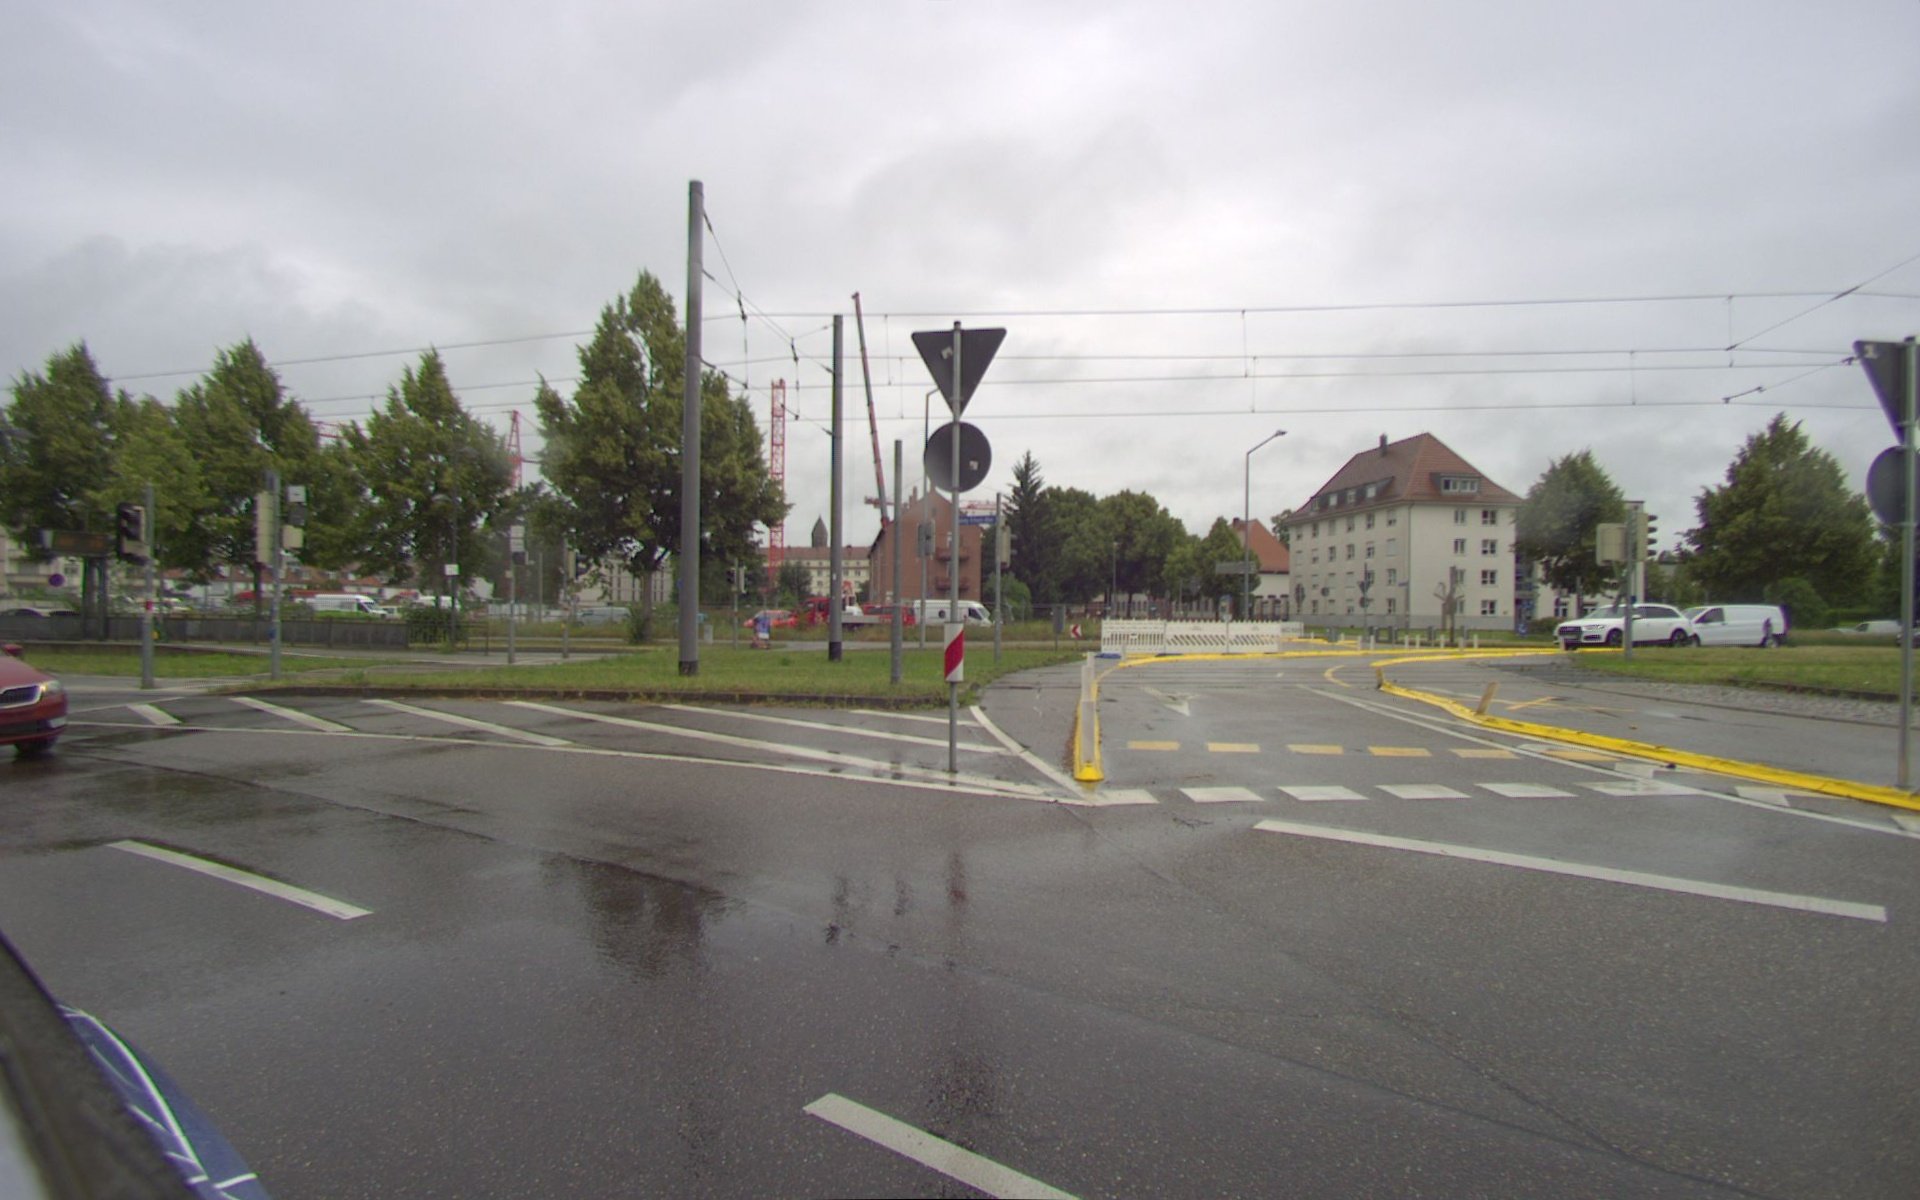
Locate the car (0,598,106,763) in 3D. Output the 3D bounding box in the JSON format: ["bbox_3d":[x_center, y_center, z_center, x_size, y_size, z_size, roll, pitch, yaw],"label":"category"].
[{"bbox_3d":[-10.742,0.733,9.968,4.286,1.470,1.776,1,2,22],"label":"car"}]

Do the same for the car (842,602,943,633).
[{"bbox_3d":[-4.473,1.155,67.147,6.390,2.029,2.337,0,-1,25],"label":"car"}]

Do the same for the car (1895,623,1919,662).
[{"bbox_3d":[40.466,1.745,40.216,4.525,1.503,1.597,1,2,27],"label":"car"}]

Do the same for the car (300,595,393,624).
[{"bbox_3d":[-55.008,0.797,90.777,7.556,2.495,2.349,0,1,11],"label":"car"}]

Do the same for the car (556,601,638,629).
[{"bbox_3d":[-33.406,1.346,93.344,6.741,2.495,2.356,0,-1,1],"label":"car"}]

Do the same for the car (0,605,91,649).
[{"bbox_3d":[-35.026,0.979,37.715,4.181,1.497,1.846,0,2,12],"label":"car"}]

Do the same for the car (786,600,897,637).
[{"bbox_3d":[-7.168,1.052,60.896,6.391,2.028,2.337,1,2,25],"label":"car"}]

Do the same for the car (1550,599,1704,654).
[{"bbox_3d":[23.207,0.869,35.241,4.783,1.757,1.783,-1,2,-16],"label":"car"}]

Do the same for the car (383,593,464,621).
[{"bbox_3d":[-51.158,0.629,96.578,6.762,2.495,2.493,0,2,11],"label":"car"}]

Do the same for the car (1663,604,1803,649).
[{"bbox_3d":[31.410,1.049,41.225,4.113,1.736,1.832,0,1,5],"label":"car"}]

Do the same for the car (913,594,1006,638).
[{"bbox_3d":[-0.060,1.073,72.850,6.391,2.961,2.337,1,2,25],"label":"car"}]
